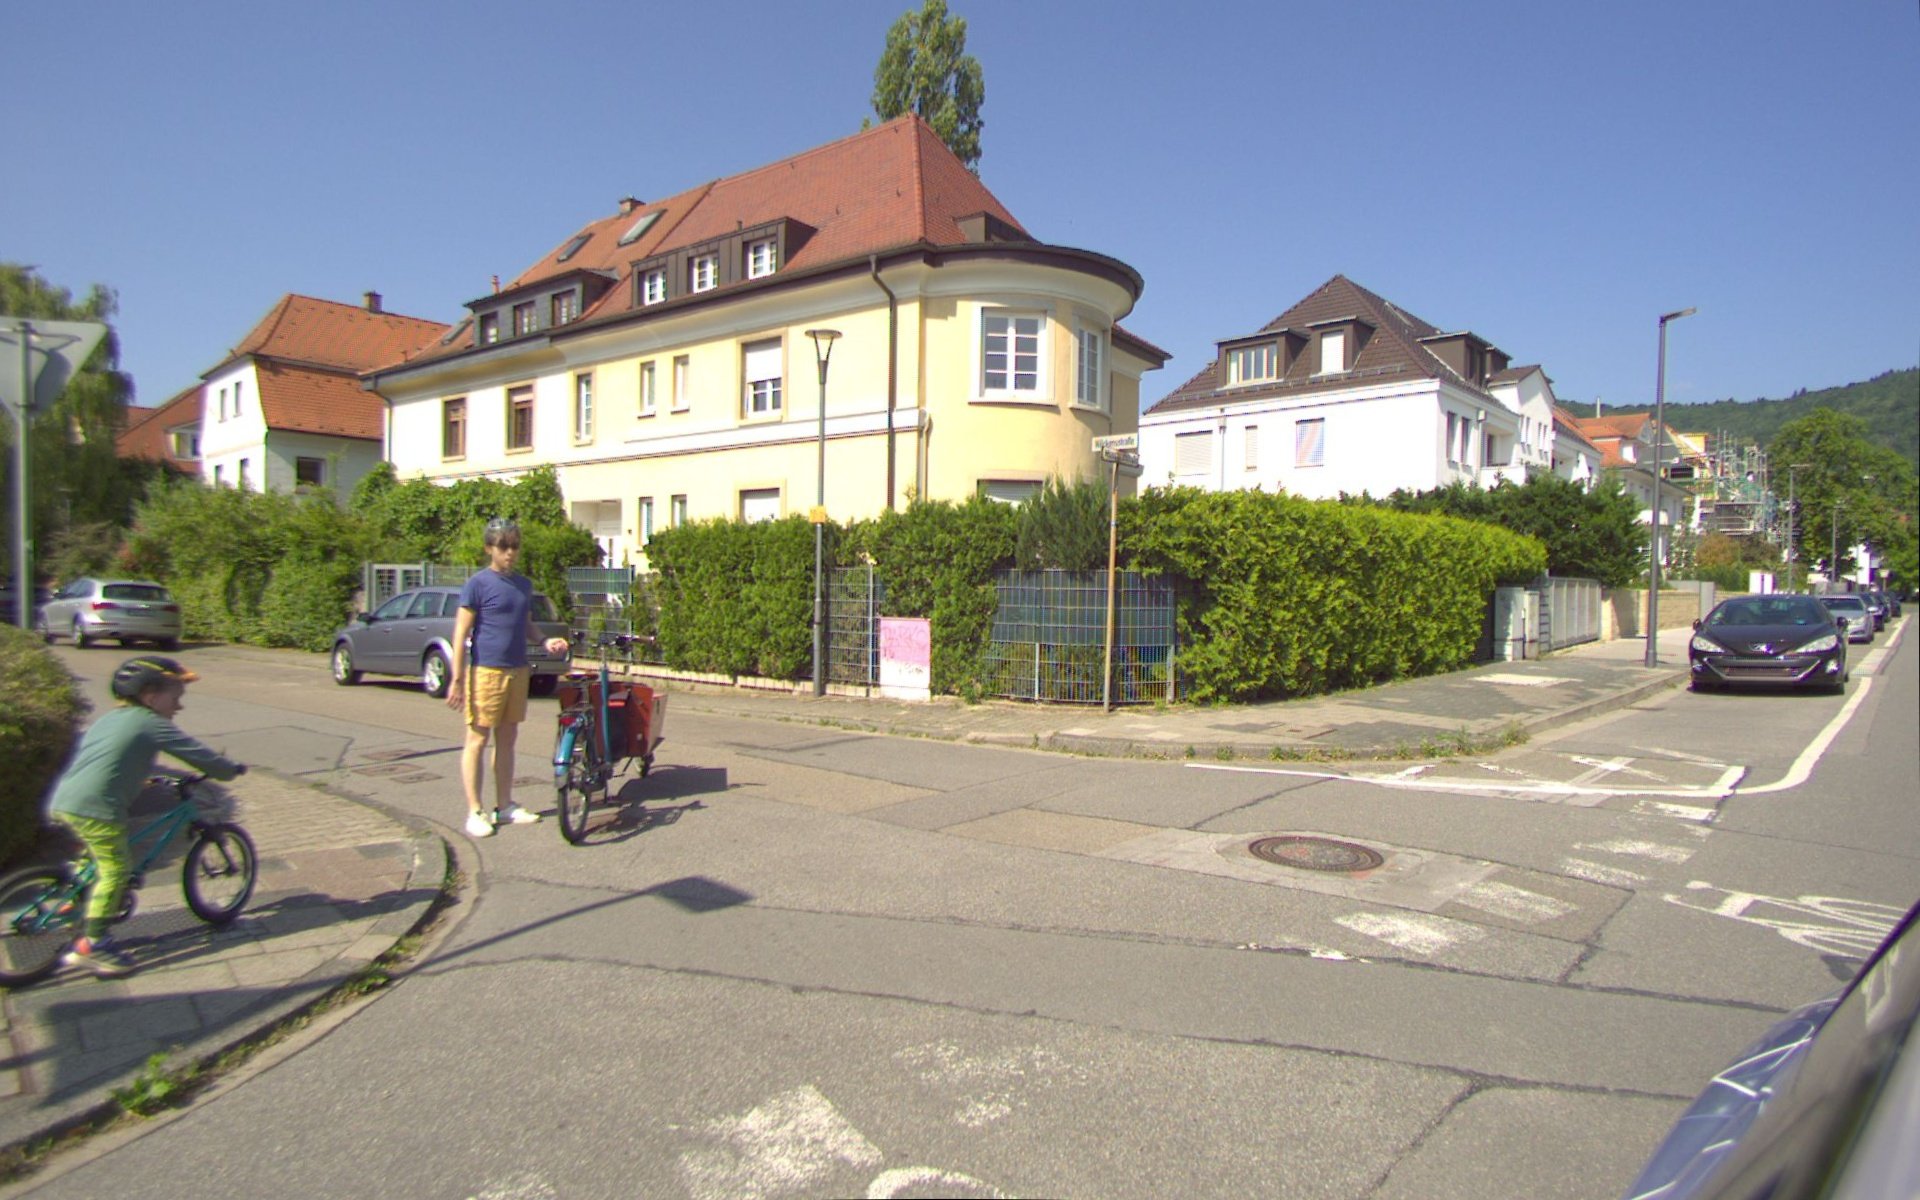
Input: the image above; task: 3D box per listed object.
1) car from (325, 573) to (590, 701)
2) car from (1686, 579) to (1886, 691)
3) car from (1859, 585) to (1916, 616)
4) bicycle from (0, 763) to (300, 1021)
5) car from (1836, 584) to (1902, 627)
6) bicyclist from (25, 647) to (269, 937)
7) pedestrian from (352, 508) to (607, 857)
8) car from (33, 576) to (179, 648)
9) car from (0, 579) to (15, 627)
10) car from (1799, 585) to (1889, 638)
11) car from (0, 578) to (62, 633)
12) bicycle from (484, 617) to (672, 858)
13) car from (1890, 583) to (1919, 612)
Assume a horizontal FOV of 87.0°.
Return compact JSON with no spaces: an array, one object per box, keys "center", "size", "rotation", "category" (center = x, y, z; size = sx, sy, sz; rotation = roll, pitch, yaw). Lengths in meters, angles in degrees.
[{"center":[-7.233,0.413,14.452],"size":[3.975,1.588,1.788],"rotation":[1,1,36],"category":"car"},{"center":[12.785,0.489,15.565],"size":[4.271,1.487,1.738],"rotation":[0,-2,-43],"category":"car"},{"center":[45.056,-0.008,49.132],"size":[3.930,1.467,1.622],"rotation":[-1,1,-41],"category":"car"},{"center":[-3.155,1.033,3.821],"size":[0.396,0.607,1.169],"rotation":[1,1,13],"category":"bicycle"},{"center":[33.786,0.189,37.625],"size":[1.721,1.467,4.105],"rotation":[-2,-1,42],"category":"car"},{"center":[-3.072,0.676,3.845],"size":[0.400,0.941,0.649],"rotation":[1,1,37],"category":"bicyclist"},{"center":[-2.870,0.431,6.173],"size":[0.887,1.896,1.185],"rotation":[1,1,11],"category":"pedestrian"},{"center":[-20.454,0.229,24.204],"size":[3.975,1.588,1.788],"rotation":[1,1,36],"category":"car"},{"center":[-33.395,0.075,33.927],"size":[3.975,1.588,1.788],"rotation":[1,1,36],"category":"car"},{"center":[25.477,0.296,29.117],"size":[1.736,1.346,4.012],"rotation":[-2,0,44],"category":"car"},{"center":[-29.177,0.137,30.950],"size":[3.975,1.588,1.788],"rotation":[1,1,36],"category":"car"},{"center":[-2.433,0.756,6.792],"size":[0.846,1.173,2.717],"rotation":[0,1,-14],"category":"bicycle"},{"center":[55.198,-0.157,58.725],"size":[1.695,1.603,4.828],"rotation":[0,1,41],"category":"car"}]
